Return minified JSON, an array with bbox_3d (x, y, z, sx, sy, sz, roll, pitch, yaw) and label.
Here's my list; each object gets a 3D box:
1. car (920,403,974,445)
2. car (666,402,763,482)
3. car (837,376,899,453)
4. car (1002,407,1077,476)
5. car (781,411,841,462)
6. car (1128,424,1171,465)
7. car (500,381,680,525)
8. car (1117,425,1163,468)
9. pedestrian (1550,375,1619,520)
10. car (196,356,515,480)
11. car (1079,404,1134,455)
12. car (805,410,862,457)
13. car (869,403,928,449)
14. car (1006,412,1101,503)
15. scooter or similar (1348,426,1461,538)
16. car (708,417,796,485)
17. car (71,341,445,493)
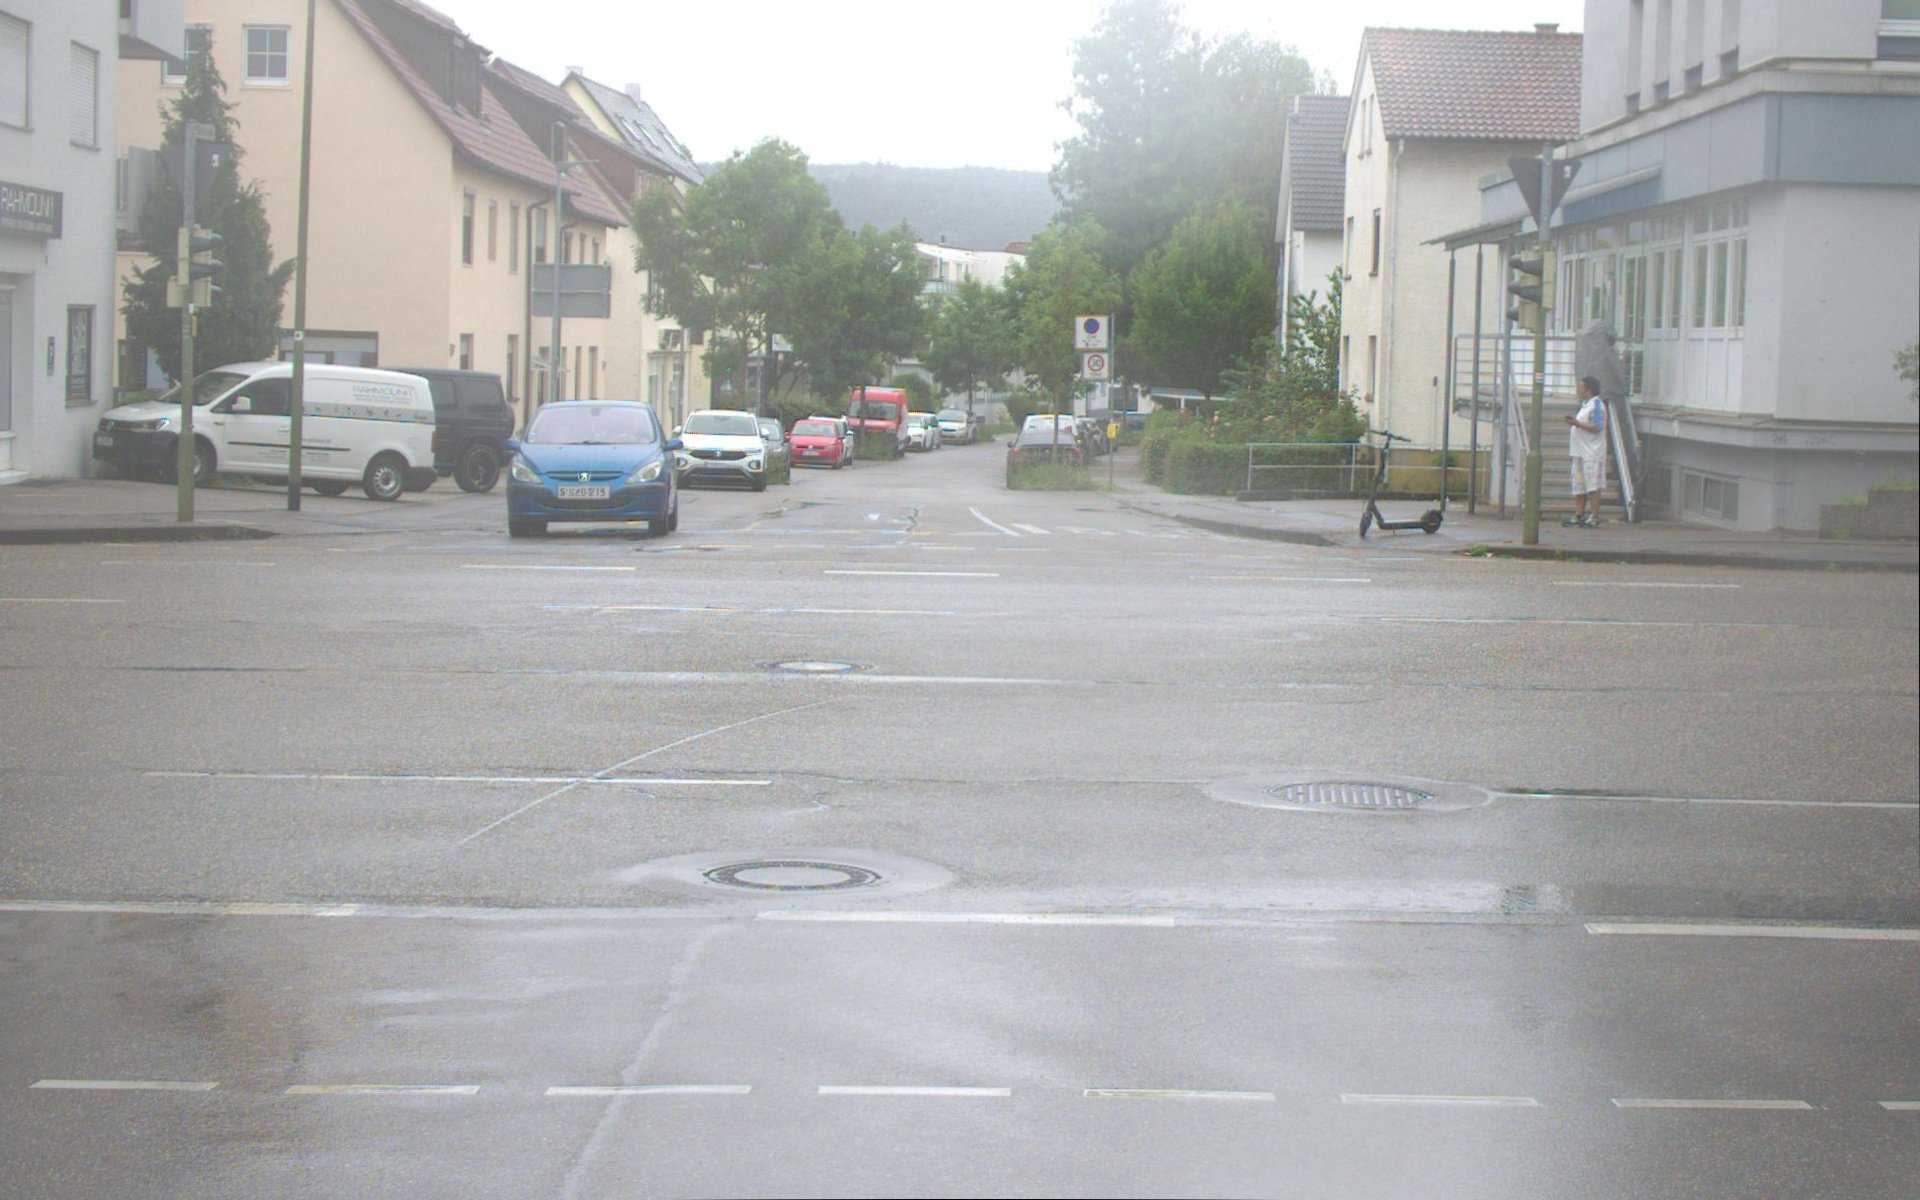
[{"bbox_3d":[-0.569,-7.907,154.577,1.994,1.700,3.999,1,1,6],"label":"car"},{"bbox_3d":[-4.809,-3.112,67.835,1.767,1.518,4.001,0,3,-2],"label":"car"},{"bbox_3d":[-3.376,-6.851,127.211,2.216,2.759,5.726,0,3,-1],"label":"car"},{"bbox_3d":[2.417,-4.762,103.487,1.994,2.006,4.000,1,3,5],"label":"car"},{"bbox_3d":[-4.529,-4.946,104.021,1.767,1.513,4.001,0,3,-3],"label":"car"},{"bbox_3d":[9.404,-7.693,170.423,1.994,2.006,4.000,1,3,5],"label":"car"},{"bbox_3d":[-4.043,-1.584,38.105,1.767,1.440,4.001,1,1,-3],"label":"car"},{"bbox_3d":[8.493,-7.234,161.898,1.994,2.006,4.000,1,3,5],"label":"car"},{"bbox_3d":[7.194,-1.751,39.596,0.654,1.646,0.646,1,0,0],"label":"pedestrian"},{"bbox_3d":[-9.557,-2.860,54.519,4.608,1.882,1.963,-2,3,-39],"label":"car"},{"bbox_3d":[5.886,-6.822,137.758,1.994,2.006,4.000,1,3,5],"label":"car"},{"bbox_3d":[-4.165,-5.454,112.583,1.767,1.513,4.001,0,3,-3],"label":"car"},{"bbox_3d":[-2.464,-7.000,138.743,1.994,1.678,3.999,1,1,5],"label":"car"},{"bbox_3d":[2.244,-3.347,81.372,1.994,2.007,3.999,1,1,5],"label":"car"},{"bbox_3d":[4.978,-1.318,38.553,1.058,1.223,0.802,1,0,-9],"label":"scooter or similar"},{"bbox_3d":[-4.767,-3.439,79.128,1.767,1.513,4.195,0,3,0],"label":"car"},{"bbox_3d":[-9.666,-2.502,47.573,4.715,1.772,1.772,2,1,-39],"label":"car"}]
